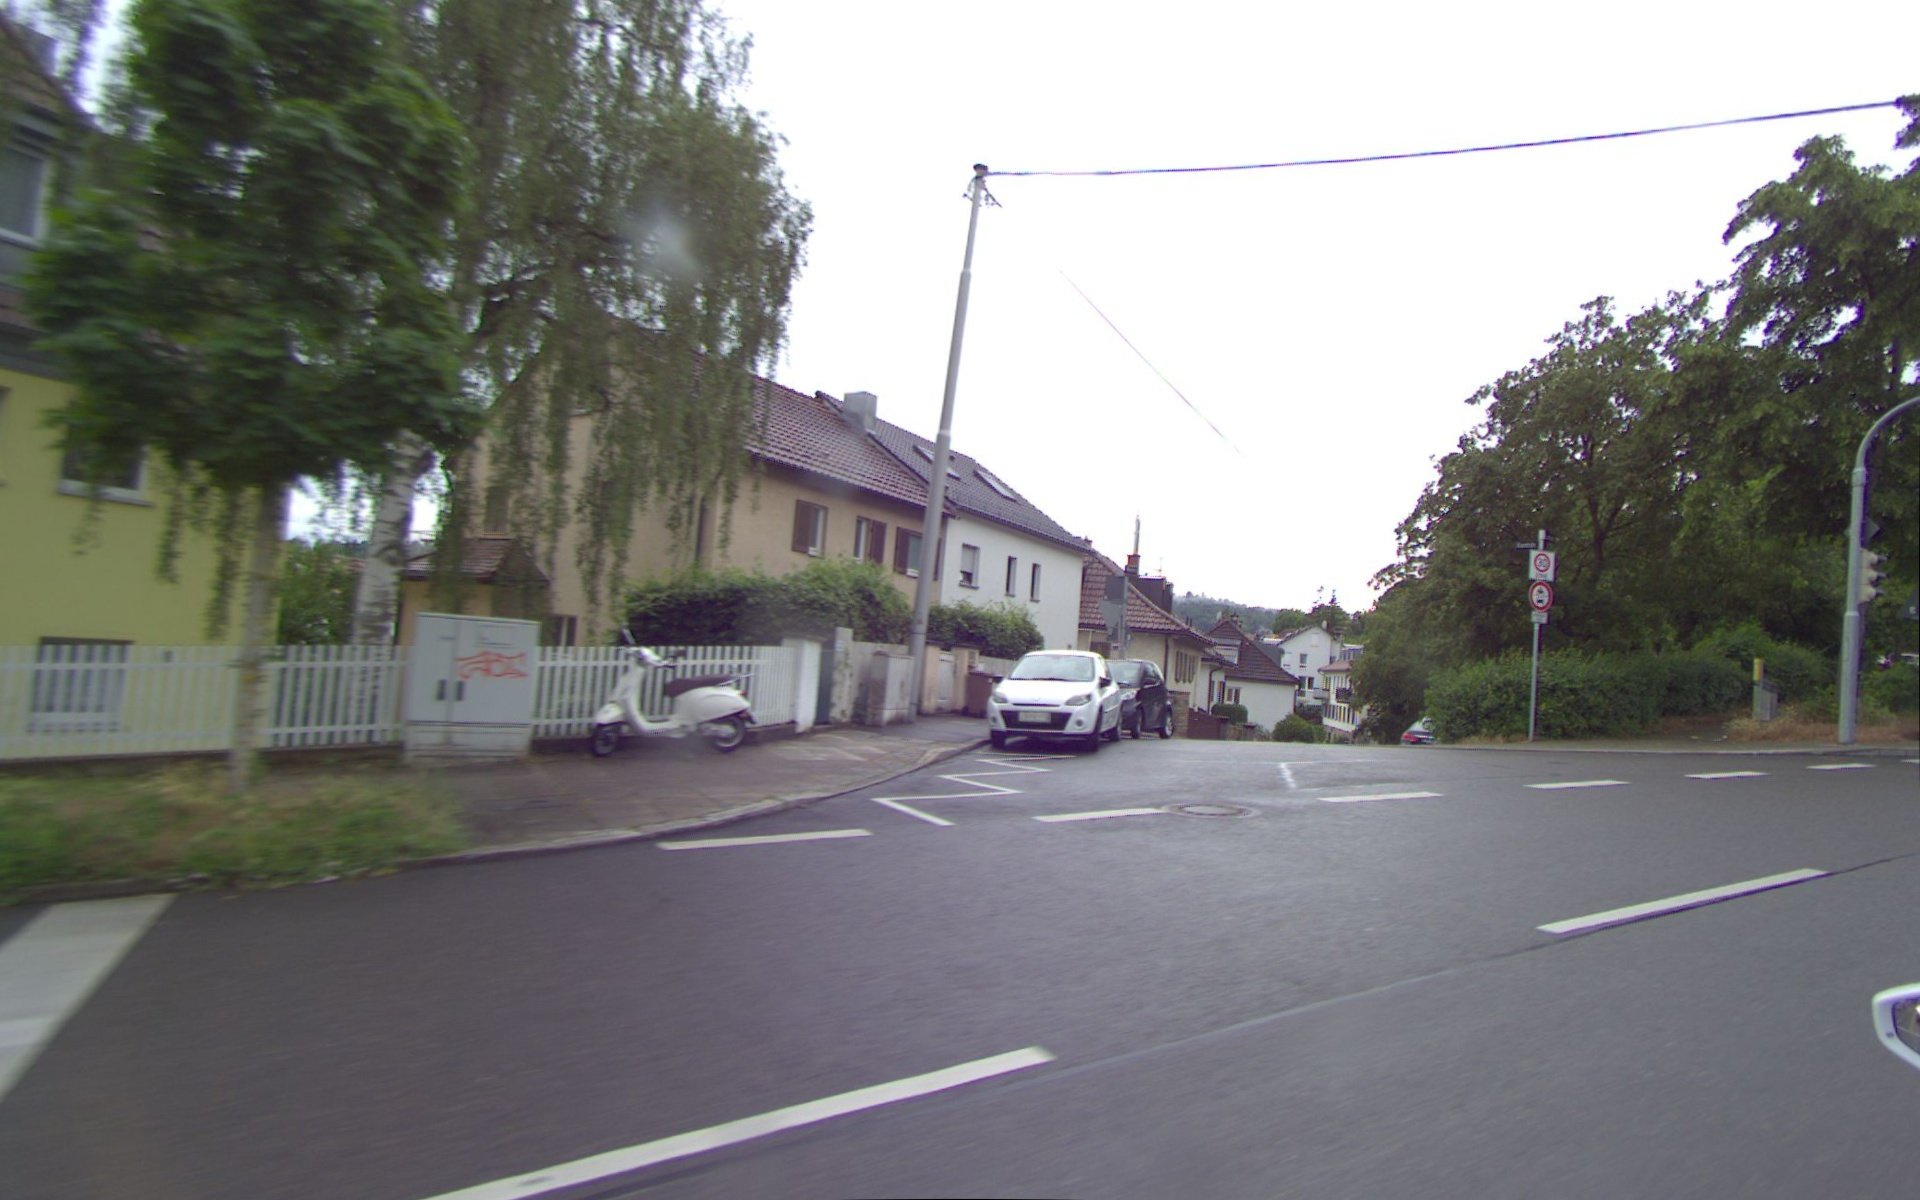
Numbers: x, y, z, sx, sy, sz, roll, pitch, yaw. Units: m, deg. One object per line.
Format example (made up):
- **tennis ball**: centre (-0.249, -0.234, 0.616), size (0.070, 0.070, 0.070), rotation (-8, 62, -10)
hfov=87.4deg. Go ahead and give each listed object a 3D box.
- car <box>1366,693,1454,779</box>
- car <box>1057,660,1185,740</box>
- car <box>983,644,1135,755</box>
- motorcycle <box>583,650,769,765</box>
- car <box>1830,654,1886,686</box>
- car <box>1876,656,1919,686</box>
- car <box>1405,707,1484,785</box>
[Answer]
- **car**: centre (12.391, 3.630, 27.520), size (1.814, 1.772, 3.996), rotation (8, 0, 27)
- **car**: centre (3.256, 1.999, 19.944), size (1.538, 1.448, 2.915), rotation (-2, -7, 31)
- **car**: centre (1.709, 1.542, 16.026), size (1.655, 1.528, 4.015), rotation (-1, -5, 17)
- **motorcycle**: centre (-3.051, 1.130, 10.884), size (1.824, 1.146, 0.587), rotation (3, -2, -33)
- **car**: centre (60.315, 4.647, 67.504), size (1.964, 2.040, 3.994), rotation (0, -3, 29)
- **car**: centre (57.487, 4.294, 61.076), size (1.966, 1.750, 3.991), rotation (-1, -3, 32)
- **car**: centre (15.445, 4.557, 31.921), size (1.724, 2.040, 3.989), rotation (0, -2, 34)
